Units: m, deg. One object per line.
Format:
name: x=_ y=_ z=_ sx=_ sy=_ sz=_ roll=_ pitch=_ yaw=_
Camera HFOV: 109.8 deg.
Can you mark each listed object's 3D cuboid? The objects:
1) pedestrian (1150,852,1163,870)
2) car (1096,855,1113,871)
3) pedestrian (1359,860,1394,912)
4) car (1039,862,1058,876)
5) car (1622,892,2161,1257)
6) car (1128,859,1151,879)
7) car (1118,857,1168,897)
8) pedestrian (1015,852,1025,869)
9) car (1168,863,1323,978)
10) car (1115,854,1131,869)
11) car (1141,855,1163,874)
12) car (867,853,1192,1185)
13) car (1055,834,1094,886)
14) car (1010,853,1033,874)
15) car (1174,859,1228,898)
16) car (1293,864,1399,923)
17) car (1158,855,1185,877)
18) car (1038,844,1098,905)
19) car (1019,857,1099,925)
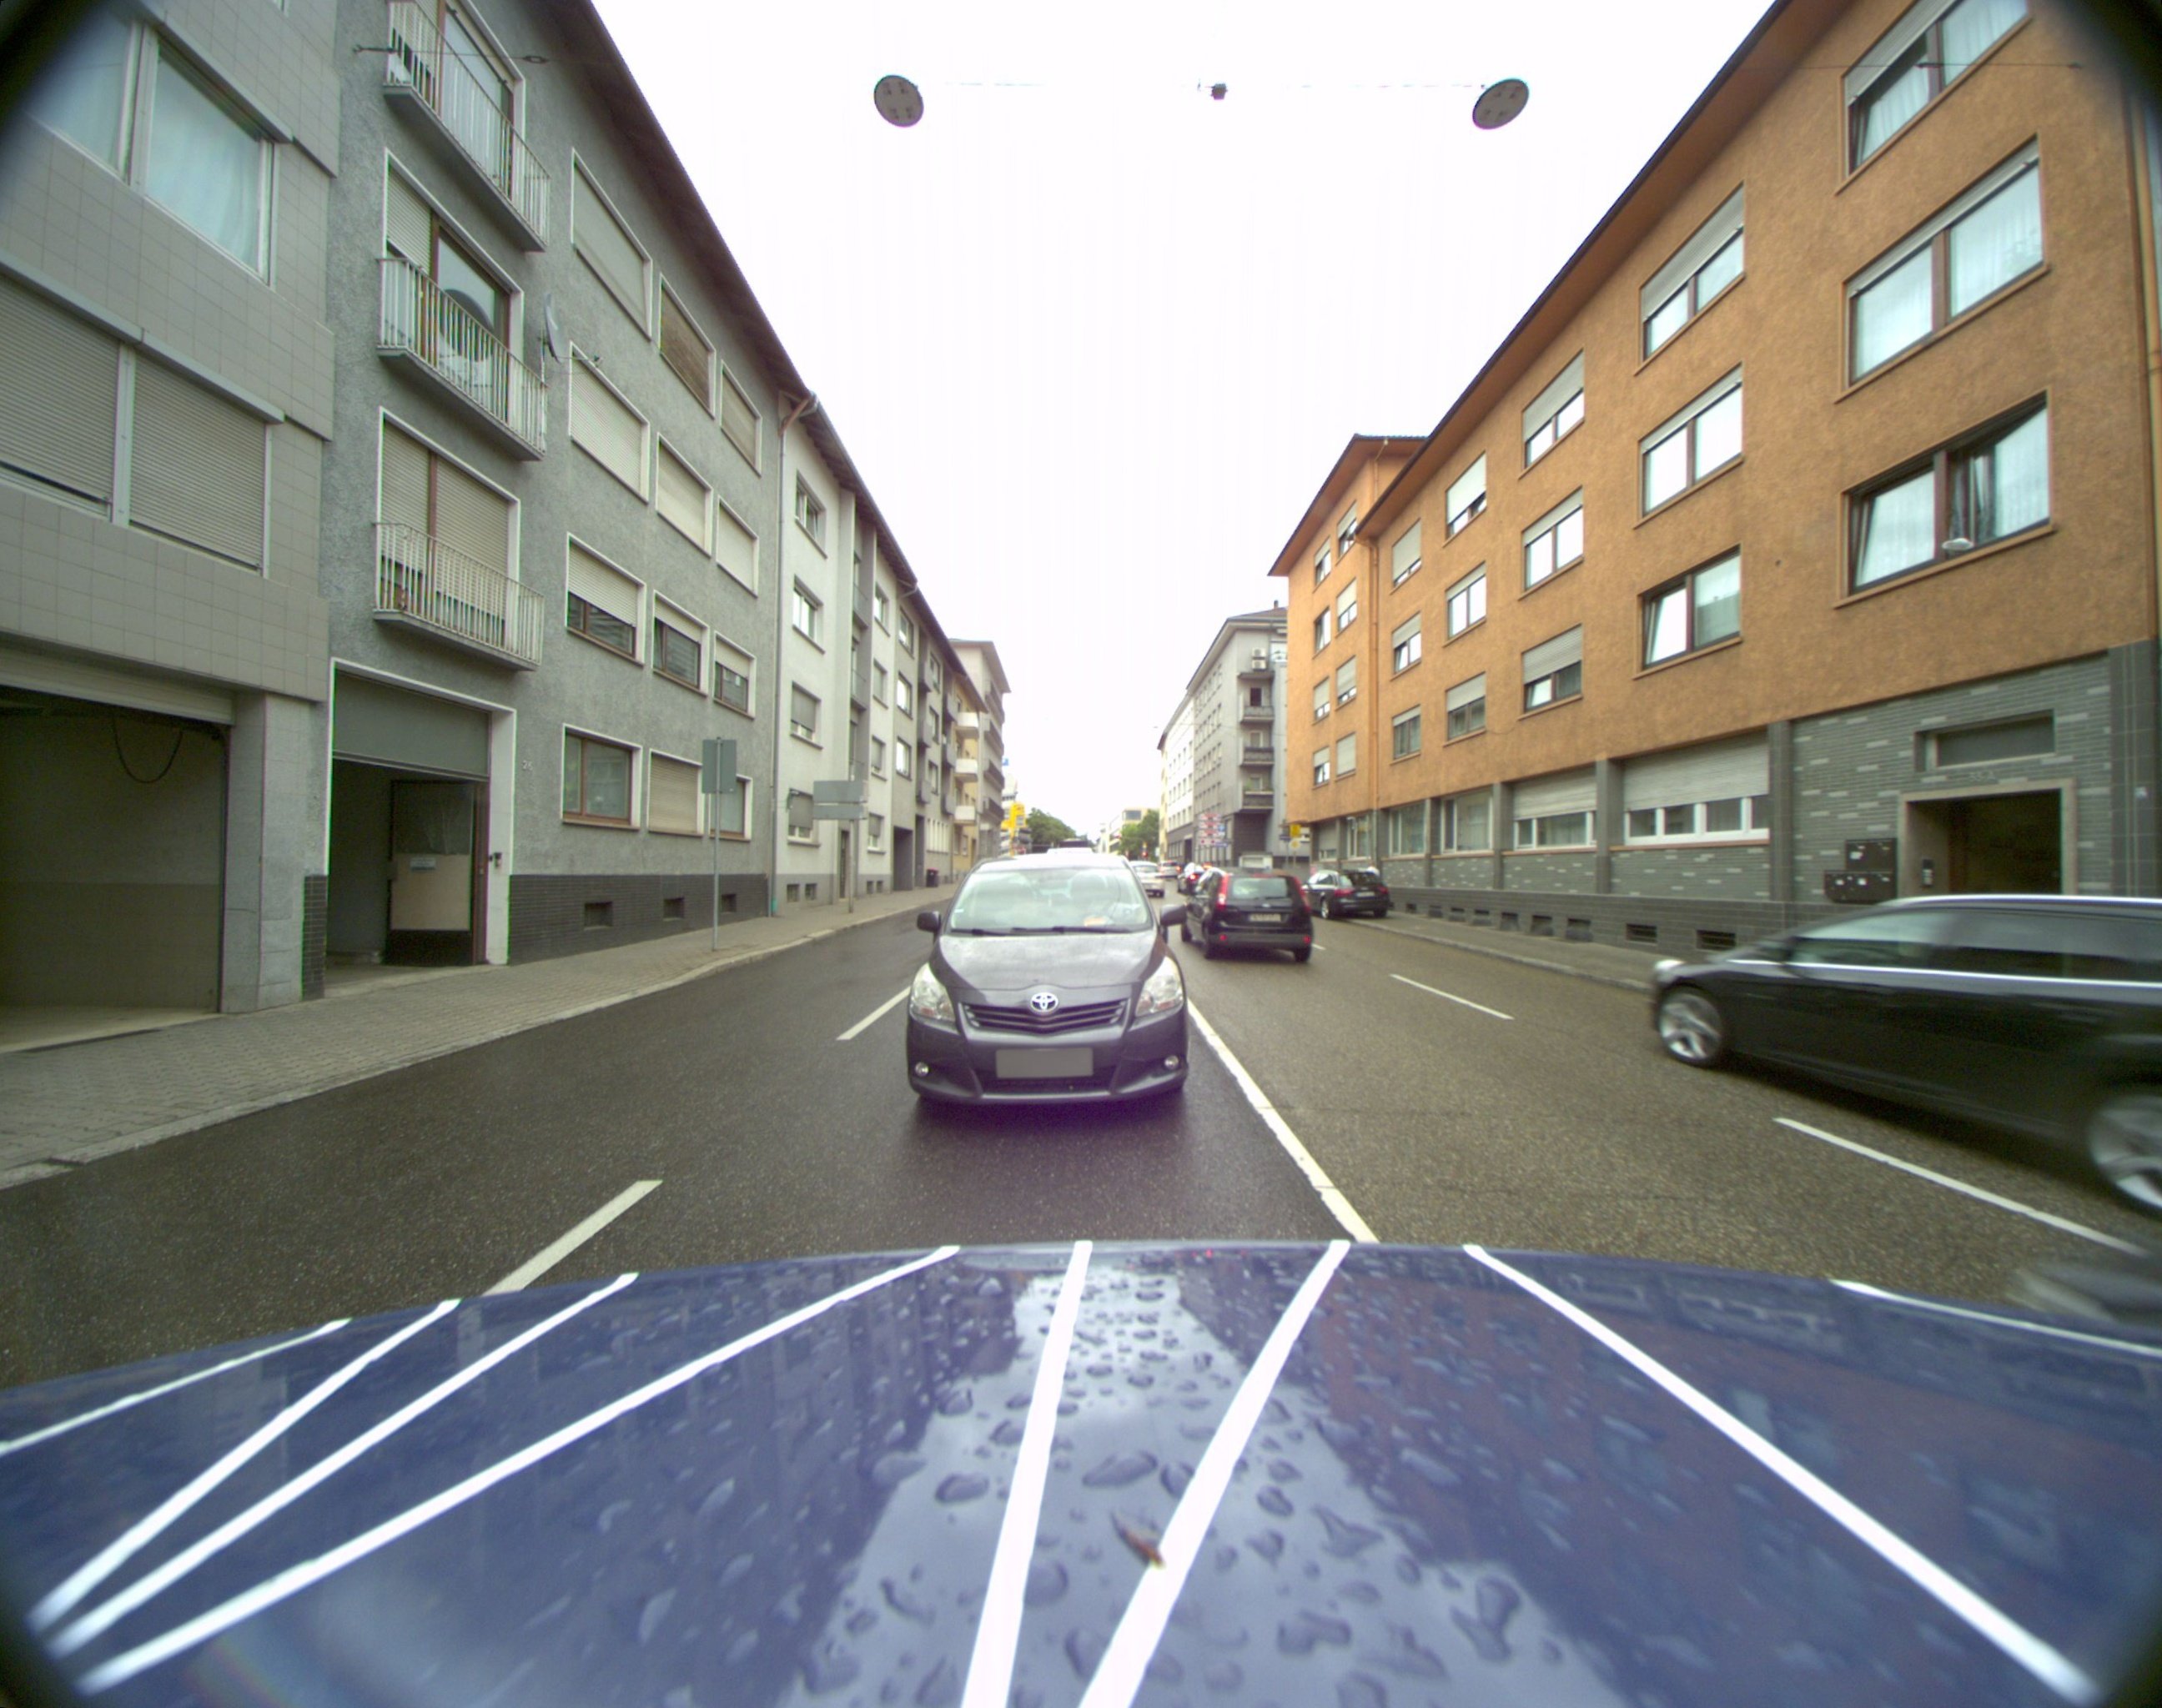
pedestrian: x=8.718 y=0.792 z=87.260 sx=1.309 sy=2.002 sz=1.258 roll=-2 pitch=1 yaw=1
car: x=2.846 y=1.064 z=92.778 sx=1.856 sy=1.712 sz=4.217 roll=-2 pitch=1 yaw=1
pedestrian: x=9.643 y=1.034 z=24.805 sx=0.768 sy=1.630 sz=1.023 roll=-2 pitch=1 yaw=5
car: x=-3.724 y=1.667 z=87.076 sx=1.856 sy=1.369 sz=4.217 roll=-2 pitch=1 yaw=1
car: x=5.684 y=1.098 z=4.513 sx=1.727 sy=1.464 sz=4.373 roll=2 pitch=0 yaw=-1
car: x=5.456 y=1.364 z=71.650 sx=1.856 sy=1.651 sz=4.610 roll=-2 pitch=1 yaw=1
car: x=2.608 y=0.944 z=32.797 sx=1.749 sy=1.530 sz=4.052 roll=2 pitch=1 yaw=-1
pedestrian: x=-6.646 y=0.698 z=82.545 sx=1.119 sy=1.741 sz=0.961 roll=1 pitch=1 yaw=-5
car: x=2.643 y=0.995 z=13.202 sx=1.622 sy=1.530 sz=4.216 roll=2 pitch=1 yaw=-1
car: x=5.356 y=0.916 z=97.357 sx=1.856 sy=1.712 sz=4.217 roll=-2 pitch=1 yaw=1
car: x=7.259 y=1.062 z=77.668 sx=1.856 sy=1.712 sz=4.217 roll=-2 pitch=1 yaw=1
car: x=-0.250 y=0.902 z=6.244 sx=1.699 sy=1.712 sz=4.217 roll=-2 pitch=1 yaw=1
car: x=-0.329 y=0.298 z=43.637 sx=2.033 sy=2.731 sz=4.368 roll=-2 pitch=1 yaw=1
car: x=-5.128 y=0.792 z=65.879 sx=1.856 sy=1.663 sz=4.215 roll=-2 pitch=1 yaw=-4
car: x=5.526 y=1.085 z=35.411 sx=1.699 sy=1.530 sz=4.435 roll=4 pitch=1 yaw=0
car: x=8.046 y=1.144 z=23.452 sx=1.799 sy=1.466 sz=4.217 roll=-2 pitch=1 yaw=1
car: x=7.818 y=0.991 z=65.744 sx=1.856 sy=1.712 sz=4.217 roll=-2 pitch=1 yaw=1
car: x=-0.394 y=0.637 z=26.593 sx=1.856 sy=1.882 sz=4.217 roll=-2 pitch=1 yaw=1
car: x=-0.503 y=0.894 z=20.088 sx=1.856 sy=1.524 sz=3.792 roll=-2 pitch=1 yaw=1
